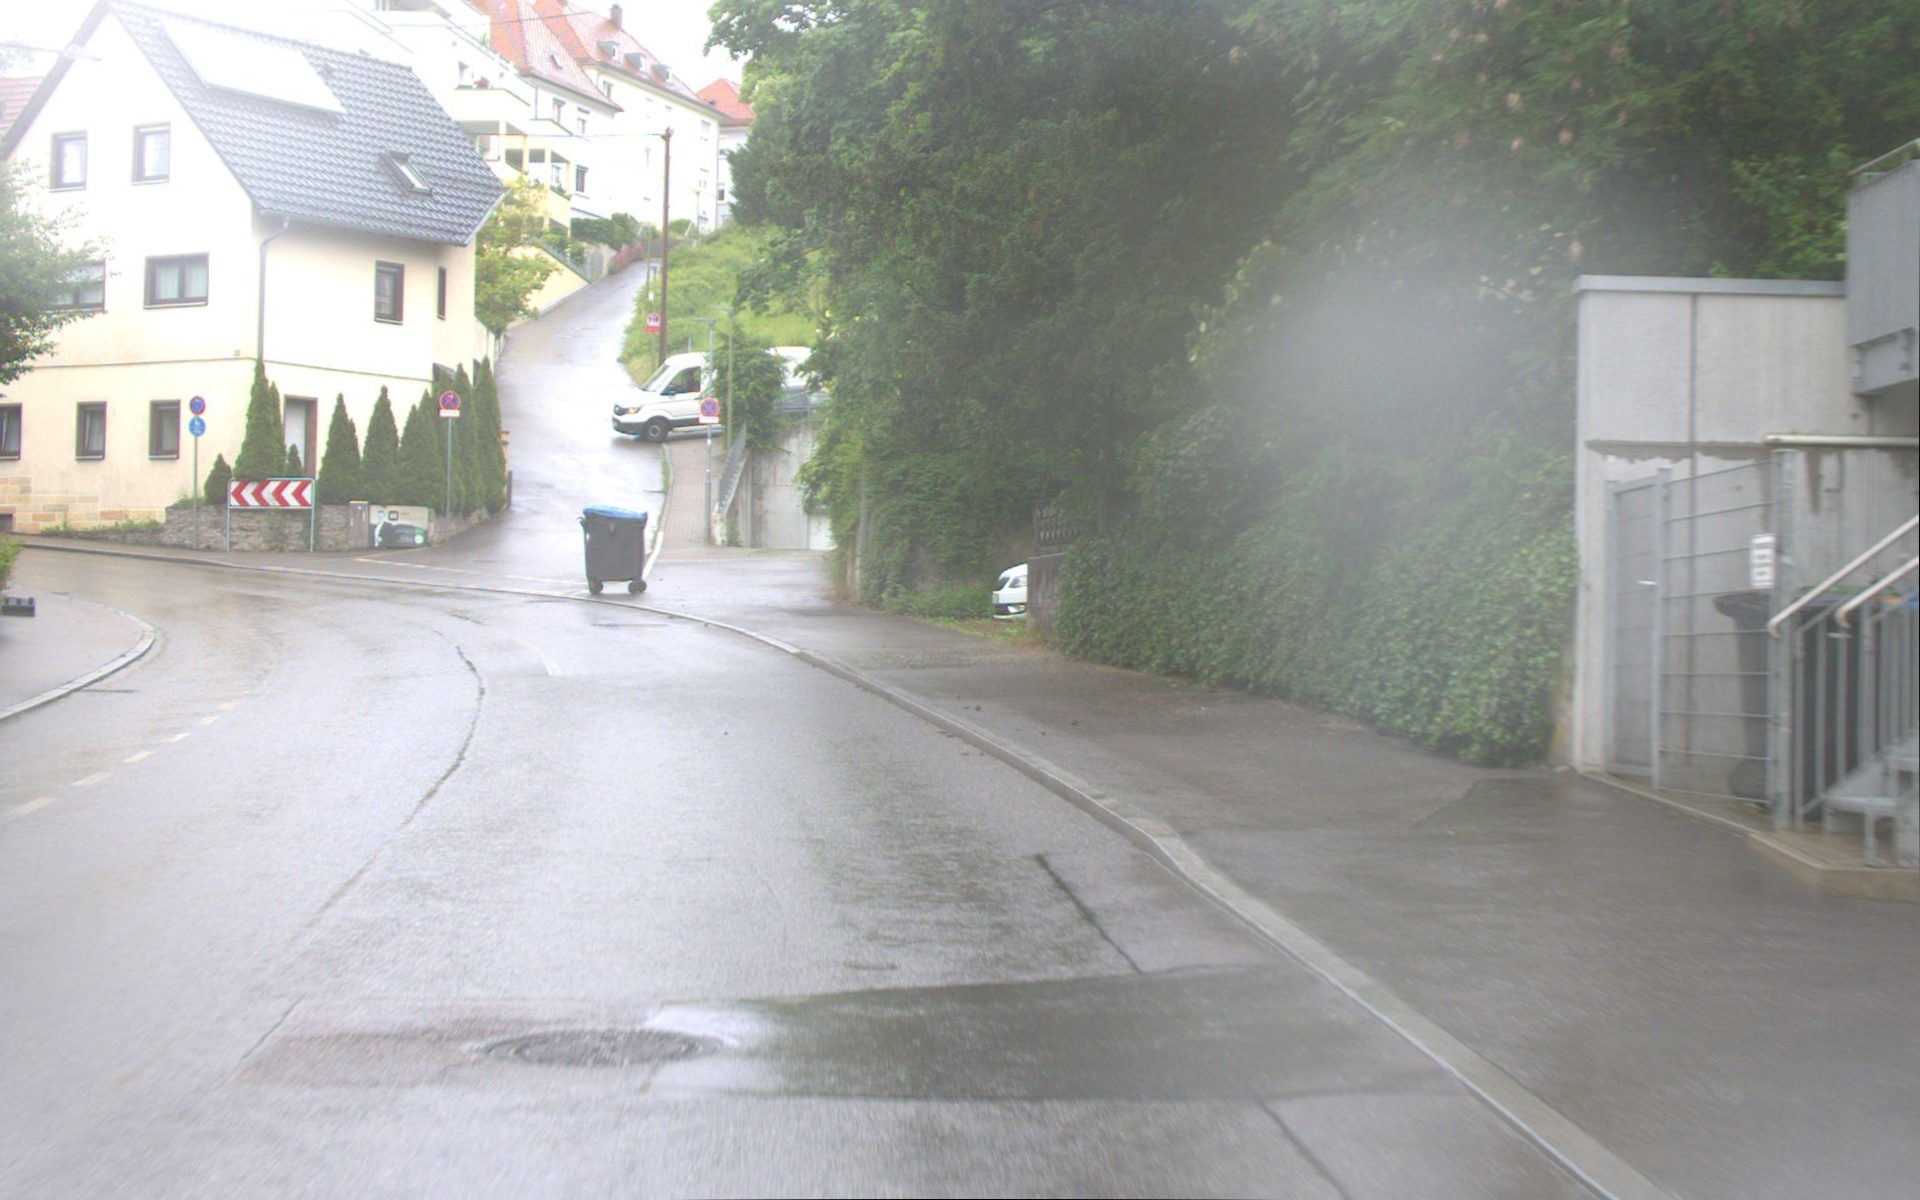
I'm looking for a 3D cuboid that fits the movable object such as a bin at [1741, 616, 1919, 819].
[{"bbox_3d":[4.355,0.562,16.745,0.874,0.938,0.746,1,1,-5],"label":"movable object such as a bin"}]

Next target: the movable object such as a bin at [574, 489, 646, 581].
[{"bbox_3d":[-5.669,-1.071,55.805,1.081,1.437,1.458,2,2,-4],"label":"movable object such as a bin"}]

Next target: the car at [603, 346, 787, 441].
[{"bbox_3d":[-7.487,-5.820,96.990,4.941,2.560,1.905,-1,2,-11],"label":"car"}]

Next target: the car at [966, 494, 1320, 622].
[{"bbox_3d":[2.262,-0.551,43.116,4.142,1.471,1.905,-1,2,-7],"label":"car"}]
